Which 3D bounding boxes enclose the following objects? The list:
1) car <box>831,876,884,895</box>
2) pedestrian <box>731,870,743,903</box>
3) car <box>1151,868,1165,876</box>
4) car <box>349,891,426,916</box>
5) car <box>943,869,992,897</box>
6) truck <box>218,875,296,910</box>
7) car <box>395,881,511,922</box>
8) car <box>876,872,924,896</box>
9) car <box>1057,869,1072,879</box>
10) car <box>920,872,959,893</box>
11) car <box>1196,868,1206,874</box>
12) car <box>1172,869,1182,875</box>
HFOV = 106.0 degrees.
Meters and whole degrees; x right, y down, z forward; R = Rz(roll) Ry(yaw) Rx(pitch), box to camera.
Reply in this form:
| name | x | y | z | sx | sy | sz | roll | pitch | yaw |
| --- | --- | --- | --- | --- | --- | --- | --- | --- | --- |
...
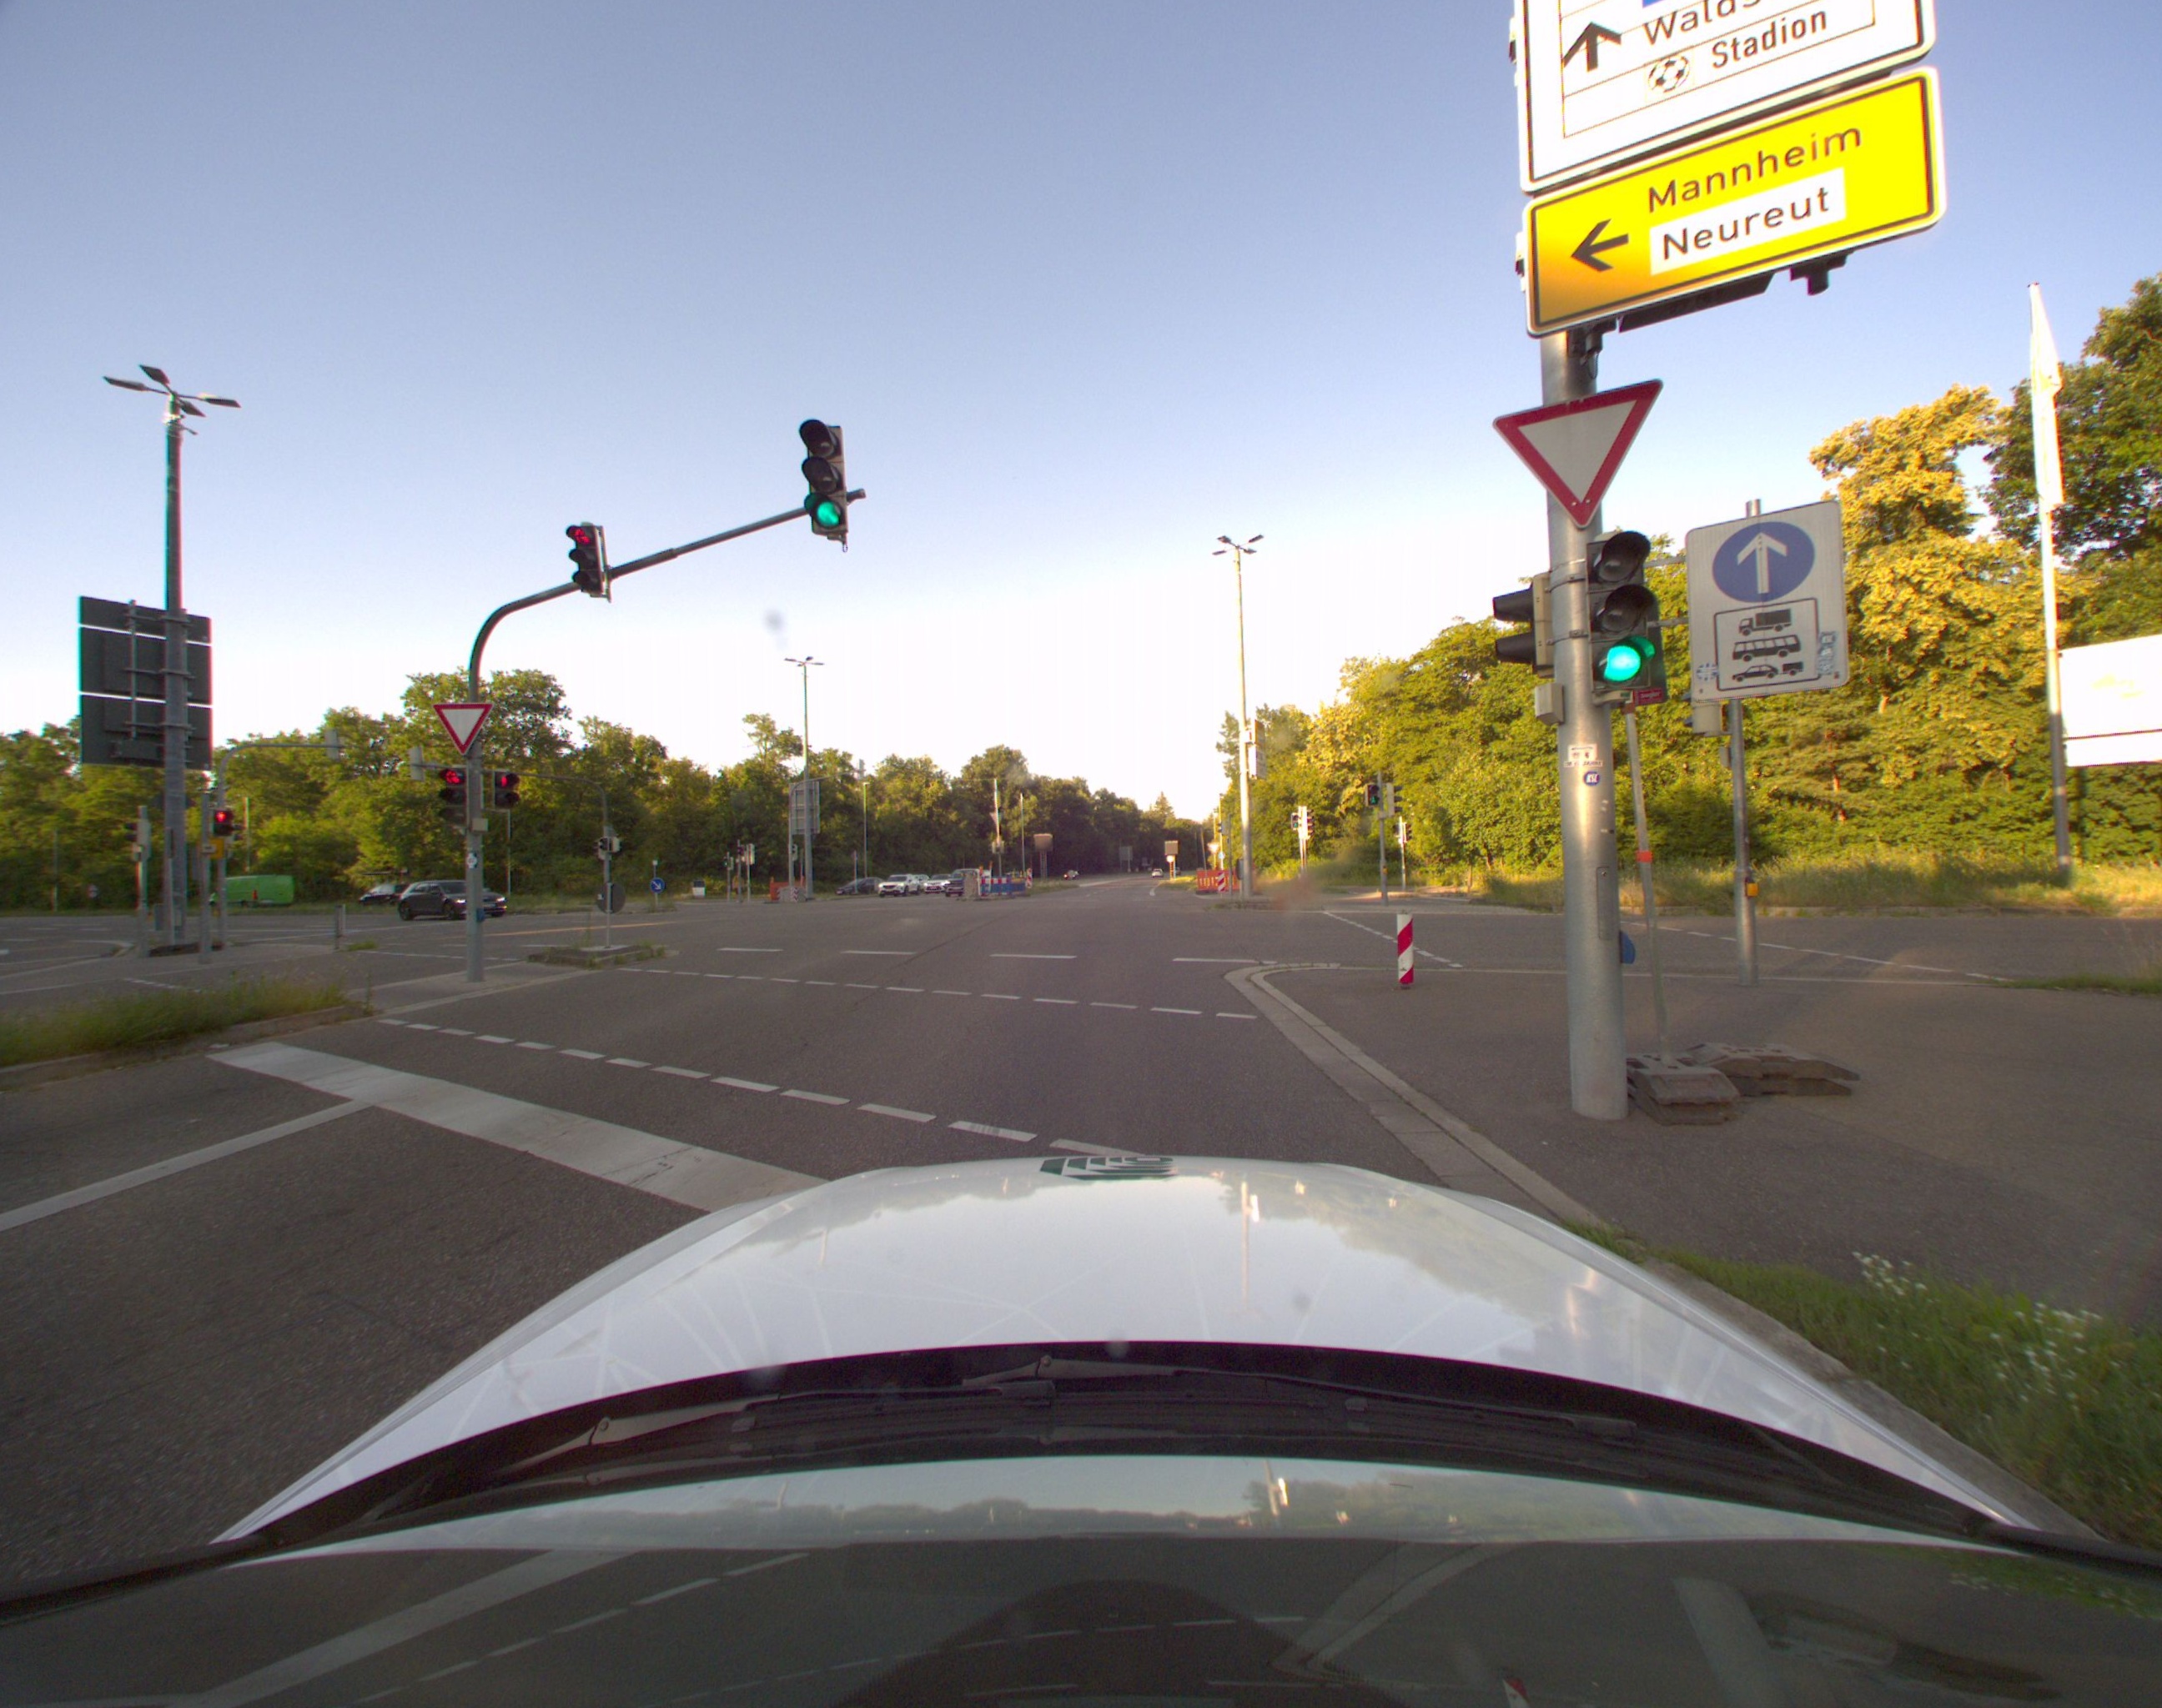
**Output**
| name | x | y | z | sx | sy | sz | roll | pitch | yaw |
| --- | --- | --- | --- | --- | --- | --- | --- | --- | --- |
| car | -16.447 | 2.337 | 60.067 | 1.586 | 1.244 | 3.670 | -2 | -1 | 29 |
| pedestrian | -19.298 | 1.820 | 45.694 | 0.576 | 1.800 | 0.743 | -1 | -1 | -25 |
| car | 13.064 | 3.043 | 138.189 | 1.534 | 1.347 | 3.129 | -2 | -1 | 19 |
| car | -39.559 | 2.804 | 46.459 | 3.998 | 1.327 | 1.673 | -1 | -1 | 23 |
| car | -6.576 | 1.655 | 47.617 | 1.707 | 1.456 | 4.242 | -2 | -1 | 7 |
| truck | -52.868 | 2.468 | 52.278 | 3.953 | 2.121 | 2.010 | -2 | -1 | 20 |
| car | -25.337 | 1.913 | 32.848 | 3.951 | 1.520 | 2.014 | -2 | -1 | 23 |
| car | -12.115 | 2.009 | 54.816 | 1.707 | 1.456 | 4.242 | -2 | -1 | 7 |
| car | -2.786 | 3.366 | 136.834 | 1.868 | 1.422 | 4.241 | -2 | -1 | 7 |
| car | -10.879 | 2.151 | 62.882 | 1.707 | 1.456 | 4.242 | -2 | -1 | 7 |
| car | 28.277 | 4.000 | 191.882 | 1.565 | 1.534 | 3.694 | -2 | -1 | 18 |
| car | 19.836 | 3.672 | 167.852 | 1.444 | 1.244 | 2.977 | -2 | -1 | 17 |
